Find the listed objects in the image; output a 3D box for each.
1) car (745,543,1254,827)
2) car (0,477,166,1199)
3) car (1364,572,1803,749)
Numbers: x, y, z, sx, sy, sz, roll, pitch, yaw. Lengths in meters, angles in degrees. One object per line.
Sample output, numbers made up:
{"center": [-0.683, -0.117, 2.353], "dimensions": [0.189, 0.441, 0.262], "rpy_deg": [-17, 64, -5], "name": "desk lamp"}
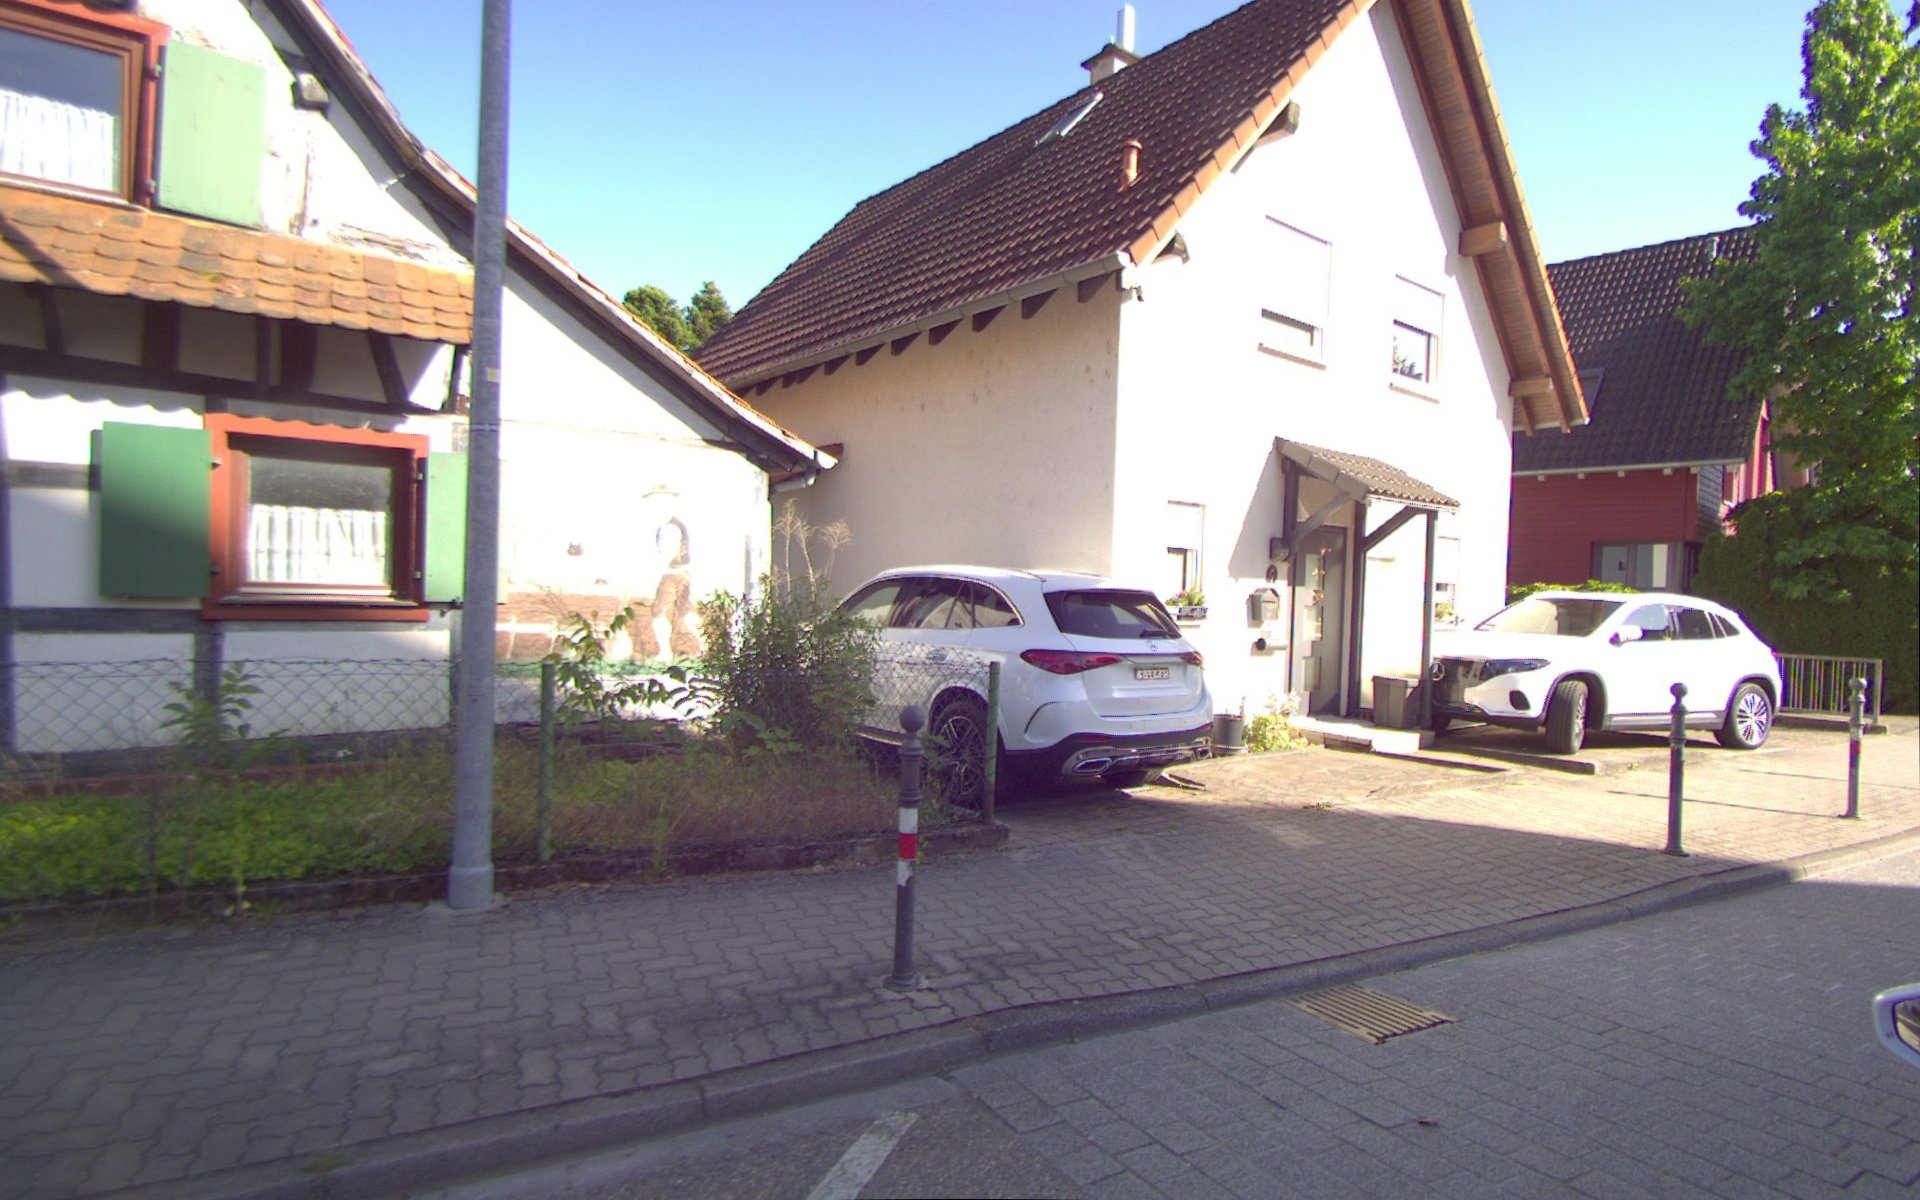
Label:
{"center": [0.089, 0.441, 8.188], "dimensions": [1.983, 1.610, 3.954], "rpy_deg": [1, 4, -39], "name": "car"}
{"center": [-3.452, 0.563, 0.595], "dimensions": [4.295, 1.693, 1.826], "rpy_deg": [3, -2, -26], "name": "car"}
{"center": [6.870, 0.632, 11.078], "dimensions": [4.381, 1.617, 1.813], "rpy_deg": [2, 2, -22], "name": "car"}
